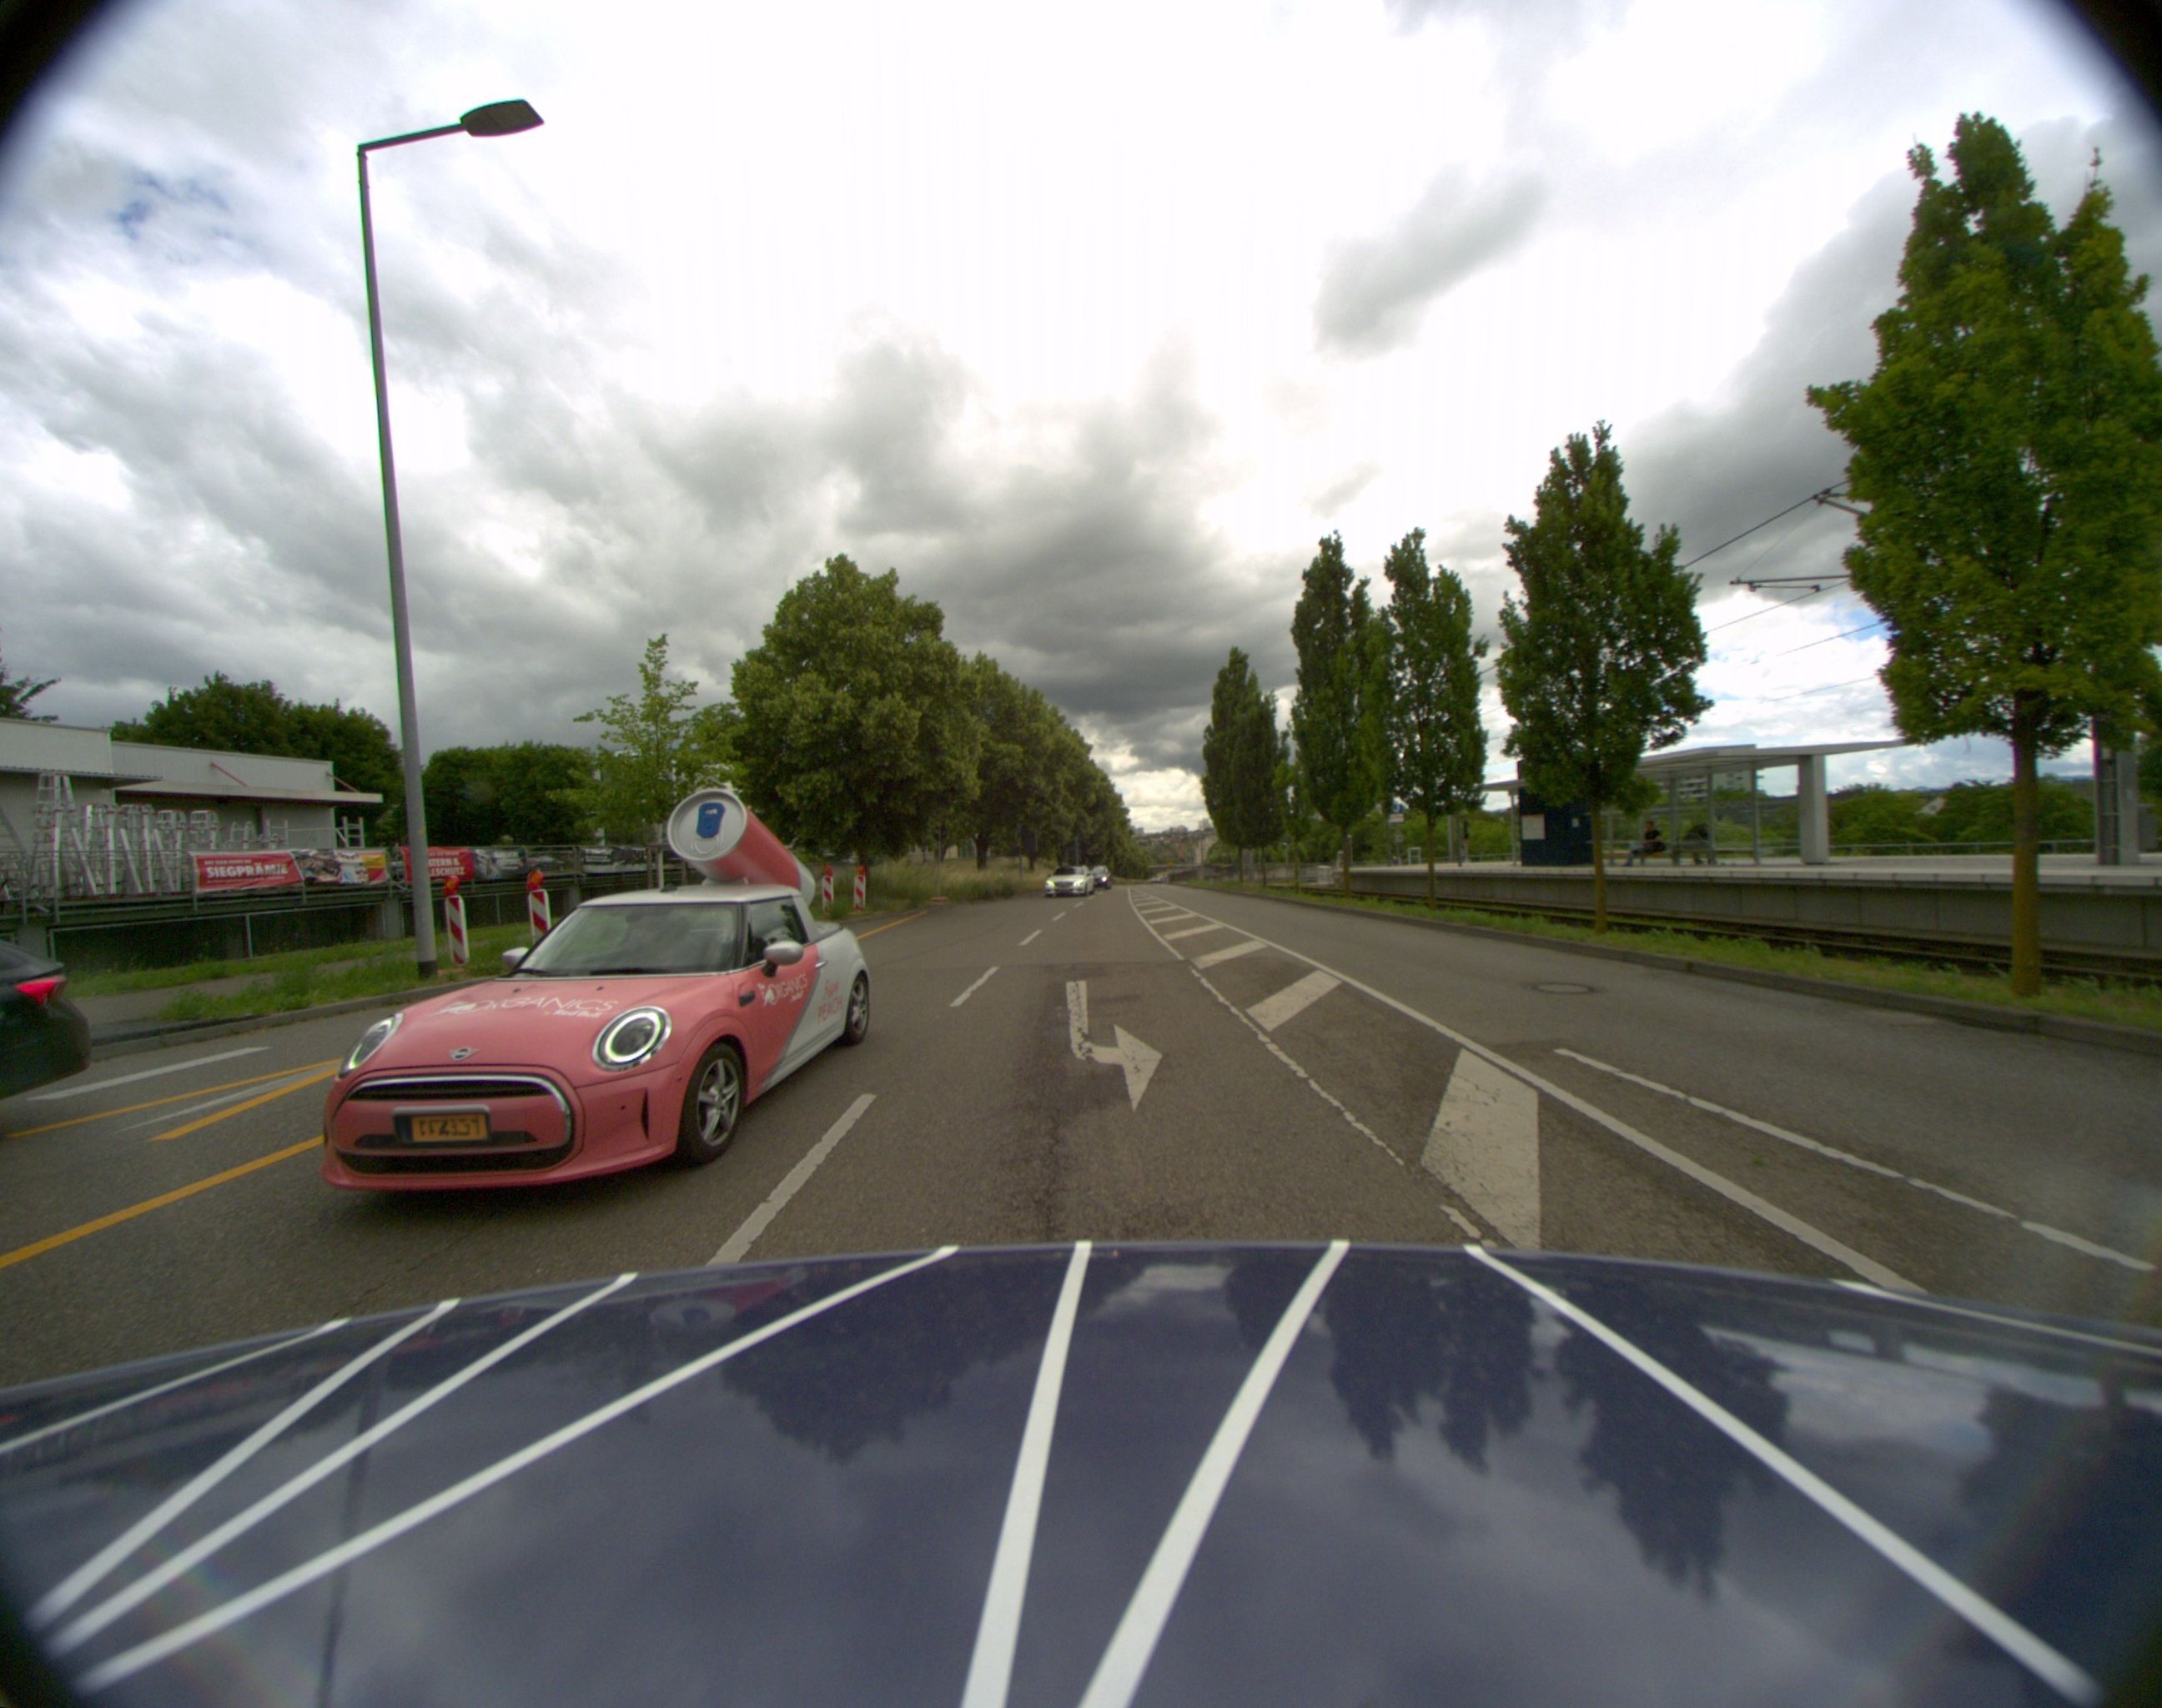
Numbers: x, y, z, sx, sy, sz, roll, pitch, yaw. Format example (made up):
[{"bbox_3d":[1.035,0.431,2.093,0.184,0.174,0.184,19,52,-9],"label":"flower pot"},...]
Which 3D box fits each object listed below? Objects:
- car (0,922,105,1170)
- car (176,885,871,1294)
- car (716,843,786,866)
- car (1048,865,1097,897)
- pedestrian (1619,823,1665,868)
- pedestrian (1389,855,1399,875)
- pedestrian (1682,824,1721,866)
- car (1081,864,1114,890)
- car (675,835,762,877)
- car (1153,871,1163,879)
[{"bbox_3d":[-7.533,1.190,2.906,1.839,1.424,4.281,-2,0,7],"label":"car"},{"bbox_3d":[-2.783,1.043,4.949,1.723,1.449,3.696,-2,0,1],"label":"car"},{"bbox_3d":[-21.373,0.008,49.230,3.762,1.356,1.756,-2,0,8],"label":"car"},{"bbox_3d":[-0.339,1.243,35.939,1.738,1.365,4.003,-2,-1,7],"label":"car"},{"bbox_3d":[15.583,-0.228,21.123,0.763,1.192,0.665,-2,0,-1],"label":"pedestrian"},{"bbox_3d":[25.707,0.903,62.422,0.508,1.615,0.646,-2,-1,5],"label":"pedestrian"},{"bbox_3d":[16.437,-0.226,20.147,0.608,1.072,0.470,-2,-1,-1],"label":"pedestrian"},{"bbox_3d":[1.055,1.379,47.170,1.805,1.439,4.001,-2,0,4],"label":"car"},{"bbox_3d":[-19.023,0.137,39.953,3.762,1.947,1.644,-3,-1,8],"label":"car"},{"bbox_3d":[14.368,3.926,142.215,1.719,1.512,3.747,-1,-1,5],"label":"car"}]
